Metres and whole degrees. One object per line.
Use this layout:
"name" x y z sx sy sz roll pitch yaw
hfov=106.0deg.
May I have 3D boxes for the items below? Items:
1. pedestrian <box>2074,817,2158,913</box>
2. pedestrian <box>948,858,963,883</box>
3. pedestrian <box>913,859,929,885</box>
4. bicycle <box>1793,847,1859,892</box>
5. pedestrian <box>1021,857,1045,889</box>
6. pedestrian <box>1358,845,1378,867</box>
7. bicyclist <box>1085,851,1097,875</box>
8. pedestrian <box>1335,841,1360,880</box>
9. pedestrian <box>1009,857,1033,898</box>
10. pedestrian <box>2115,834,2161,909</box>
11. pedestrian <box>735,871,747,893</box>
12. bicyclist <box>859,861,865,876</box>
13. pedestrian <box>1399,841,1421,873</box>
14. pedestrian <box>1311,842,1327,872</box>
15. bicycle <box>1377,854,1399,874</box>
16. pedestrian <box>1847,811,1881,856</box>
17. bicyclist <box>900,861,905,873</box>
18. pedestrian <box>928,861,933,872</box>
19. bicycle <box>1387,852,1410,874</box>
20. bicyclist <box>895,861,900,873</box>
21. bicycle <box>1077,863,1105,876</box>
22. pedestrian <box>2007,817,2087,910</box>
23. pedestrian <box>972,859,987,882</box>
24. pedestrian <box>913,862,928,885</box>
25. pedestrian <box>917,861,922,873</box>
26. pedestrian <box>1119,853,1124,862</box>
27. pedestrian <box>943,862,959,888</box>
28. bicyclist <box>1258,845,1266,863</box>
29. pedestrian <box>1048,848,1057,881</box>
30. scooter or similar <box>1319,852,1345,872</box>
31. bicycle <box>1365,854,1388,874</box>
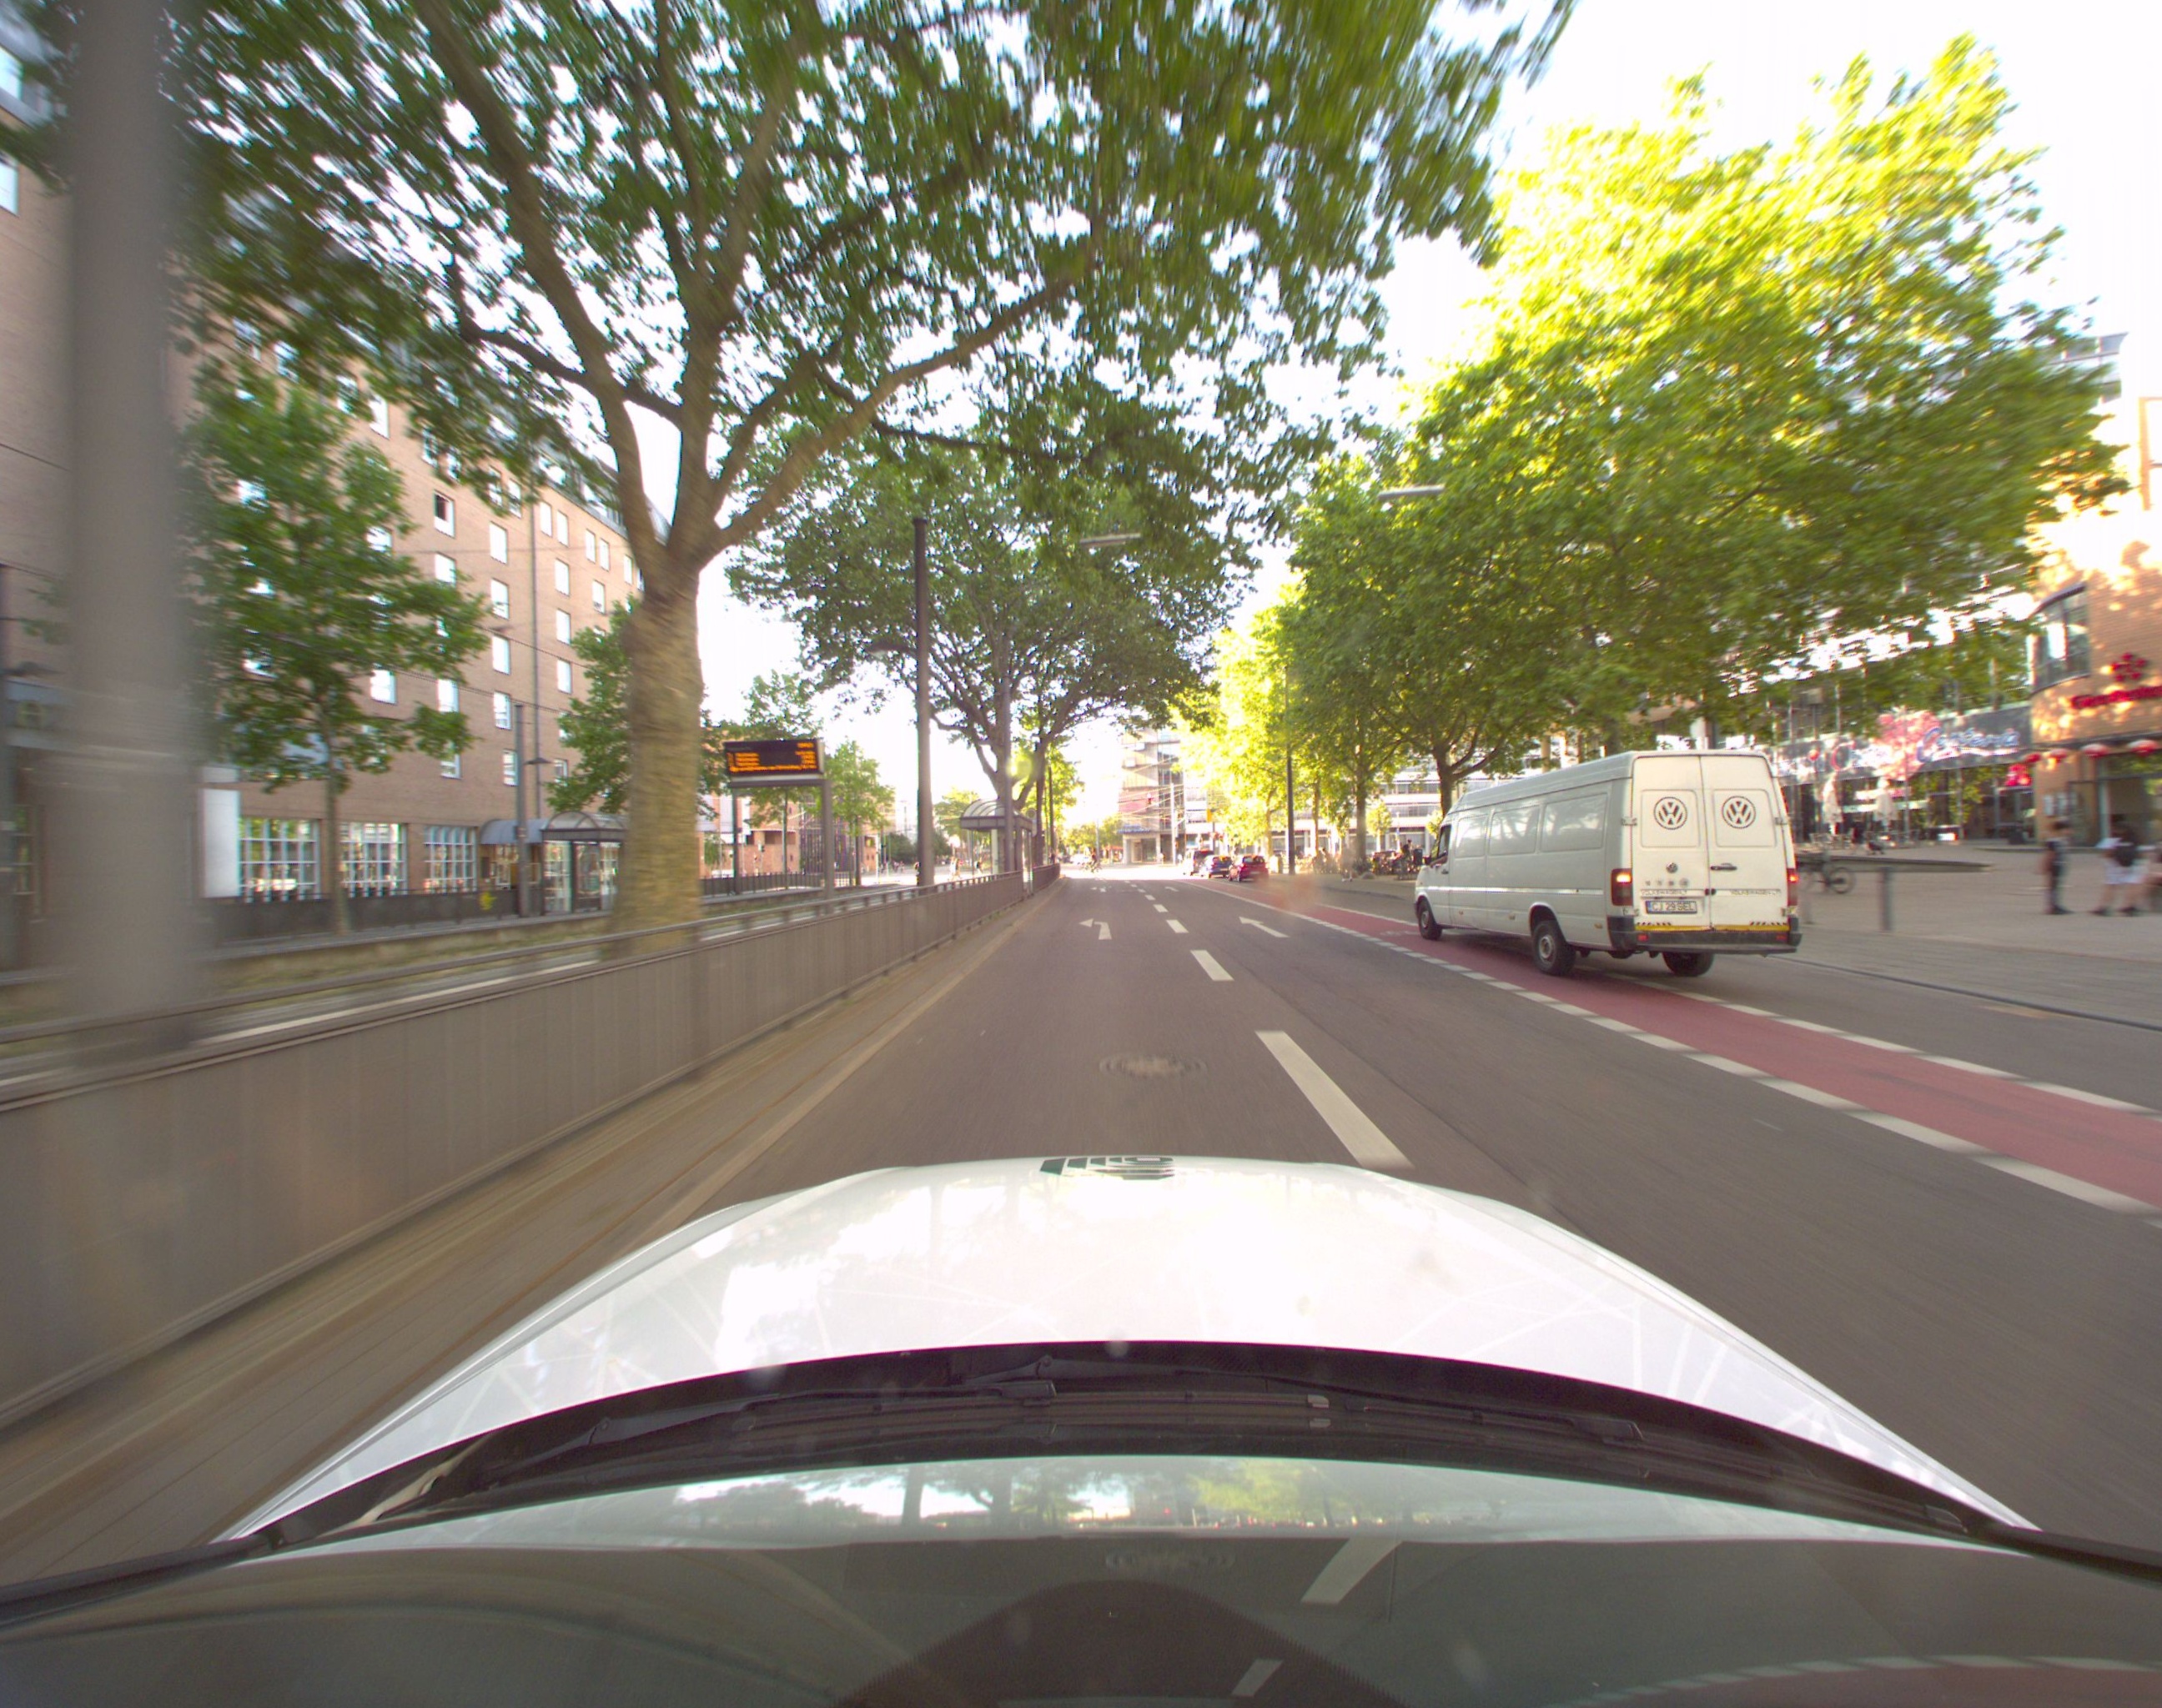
"pedestrian" 16.875 0.178 13.291 0.512 1.523 0.637 -2 0 8
"pedestrian" -9.207 1.229 59.977 1.071 1.806 0.755 -1 -1 -9
"pedestrian" -11.849 1.333 60.323 1.073 1.871 0.736 -1 -1 -9
"bicycle" 18.671 0.370 20.440 0.456 1.077 1.514 -2 0 10
"pedestrian" -2.114 0.828 35.962 0.972 1.400 0.664 0 -1 3
"pedestrian" 24.158 0.167 68.604 1.207 1.822 1.039 0 -1 -7
"bicyclist" 0.750 0.683 63.515 0.847 1.785 0.752 -2 0 -2
"pedestrian" 12.350 0.292 37.758 0.869 1.786 0.808 -2 0 -1
"pedestrian" -2.048 0.787 27.850 0.731 1.387 0.641 0 -1 3
"pedestrian" 17.938 0.281 13.534 0.611 1.221 0.678 -2 0 4
"pedestrian" -25.071 2.080 59.990 0.588 1.584 0.724 1 -1 -3
"bicyclist" -30.404 2.014 113.185 0.565 2.060 0.446 -2 -1 -37
"pedestrian" 18.278 0.180 45.281 0.816 1.757 0.769 -2 -1 -7
"pedestrian" 14.268 0.172 48.820 0.799 1.786 0.661 -2 -1 24
"bicycle" 16.514 0.530 43.826 0.500 1.032 1.654 -2 0 -2
"pedestrian" 33.689 -0.878 35.041 0.987 1.844 0.857 -3 -1 45
"bicyclist" -26.885 1.962 122.673 0.593 1.675 0.787 -2 0 -8
"pedestrian" -21.579 1.792 116.486 0.538 1.650 0.621 -2 -1 -21
"bicycle" 17.077 0.471 43.841 0.500 1.137 1.654 -2 0 -2
"bicyclist" -27.638 1.962 122.389 0.593 1.675 0.787 -2 0 -8
"bicycle" 0.784 1.220 63.521 2.171 0.933 0.667 -2 -1 -2
"pedestrian" 16.708 0.161 14.097 0.573 1.543 0.639 -2 0 8
"pedestrian" -7.830 1.283 62.845 1.072 1.715 0.627 -1 -1 -6
"pedestrian" -11.746 1.415 59.580 1.072 1.682 0.755 -1 -1 -9
"pedestrian" -23.057 1.830 116.052 0.538 1.650 0.621 -2 0 -21
"pedestrian" 6.653 0.594 133.898 0.738 1.465 0.536 -2 -1 -4
"pedestrian" -9.704 1.547 60.961 1.145 1.894 0.830 -1 -1 -9
"bicyclist" 16.223 -0.014 72.956 0.559 1.616 0.823 -2 -1 5
"pedestrian" -1.633 0.590 46.903 0.508 1.900 0.759 0 -1 -1
"scooter or similar" 15.513 0.499 50.283 1.255 1.142 0.911 2 -3 -15
"bicycle" 15.900 0.557 43.845 0.594 1.032 1.654 -2 0 -2
